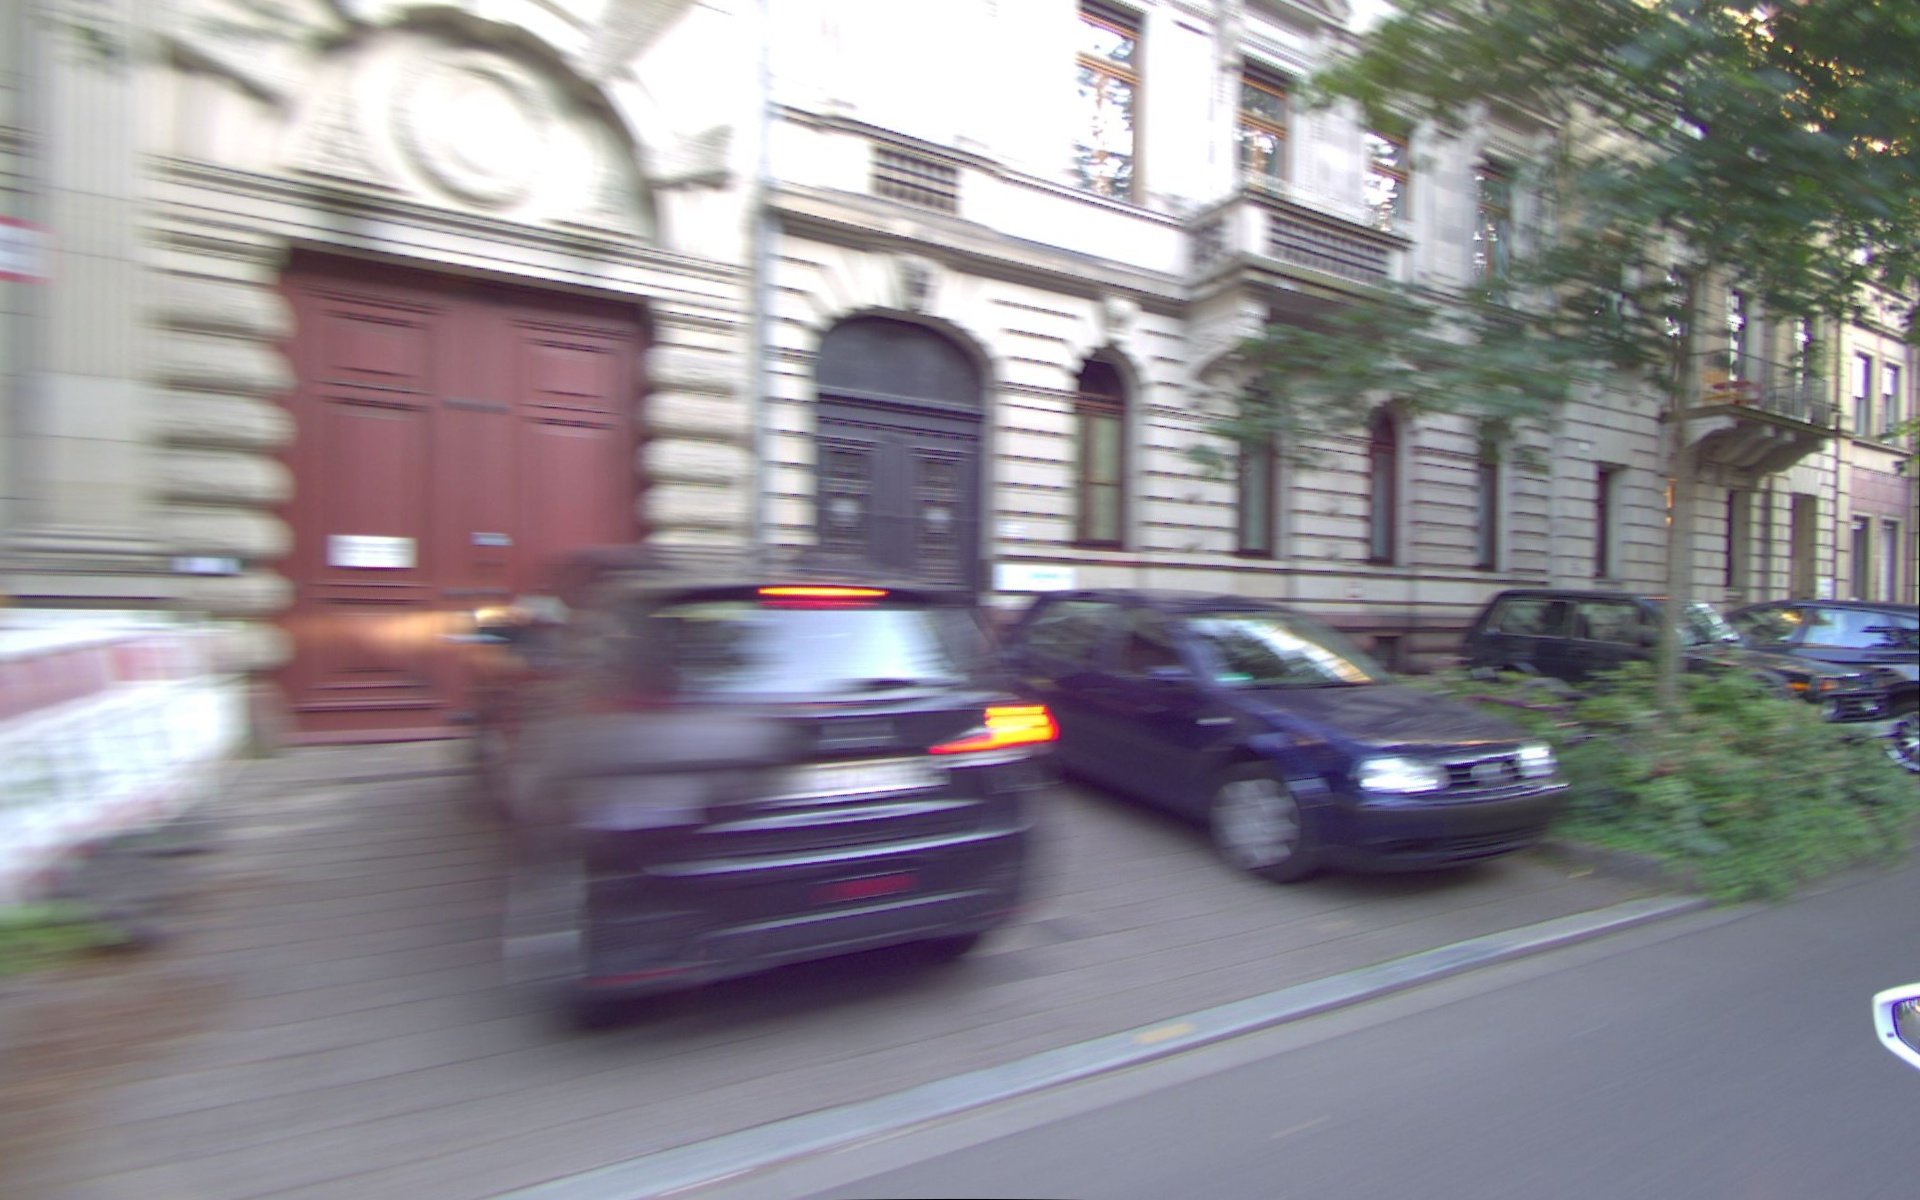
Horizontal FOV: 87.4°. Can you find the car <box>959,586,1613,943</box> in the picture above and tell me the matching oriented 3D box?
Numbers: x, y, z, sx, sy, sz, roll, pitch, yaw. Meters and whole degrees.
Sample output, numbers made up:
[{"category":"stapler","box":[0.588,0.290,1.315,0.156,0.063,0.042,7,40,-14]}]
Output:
[{"category":"car","box":[1.704,0.711,6.604,1.743,1.406,3.947,0,3,-29]}]

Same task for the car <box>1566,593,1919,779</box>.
[{"category":"car","box":[9.363,0.826,11.080,1.884,1.694,4.181,0,2,-29]}]

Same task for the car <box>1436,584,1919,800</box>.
[{"category":"car","box":[7.116,0.731,10.223,1.694,1.694,3.781,0,2,-31]}]

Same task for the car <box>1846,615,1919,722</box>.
[{"category":"car","box":[15.433,1.056,14.223,1.885,1.553,3.926,1,0,-30]}]

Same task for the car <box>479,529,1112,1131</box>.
[{"category":"car","box":[-1.215,0.534,4.886,1.759,1.618,3.946,1,3,-29]}]

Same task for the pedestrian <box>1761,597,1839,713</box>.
[{"category":"pedestrian","box":[13.160,0.844,15.743,0.727,1.762,0.666,1,1,-27]}]
